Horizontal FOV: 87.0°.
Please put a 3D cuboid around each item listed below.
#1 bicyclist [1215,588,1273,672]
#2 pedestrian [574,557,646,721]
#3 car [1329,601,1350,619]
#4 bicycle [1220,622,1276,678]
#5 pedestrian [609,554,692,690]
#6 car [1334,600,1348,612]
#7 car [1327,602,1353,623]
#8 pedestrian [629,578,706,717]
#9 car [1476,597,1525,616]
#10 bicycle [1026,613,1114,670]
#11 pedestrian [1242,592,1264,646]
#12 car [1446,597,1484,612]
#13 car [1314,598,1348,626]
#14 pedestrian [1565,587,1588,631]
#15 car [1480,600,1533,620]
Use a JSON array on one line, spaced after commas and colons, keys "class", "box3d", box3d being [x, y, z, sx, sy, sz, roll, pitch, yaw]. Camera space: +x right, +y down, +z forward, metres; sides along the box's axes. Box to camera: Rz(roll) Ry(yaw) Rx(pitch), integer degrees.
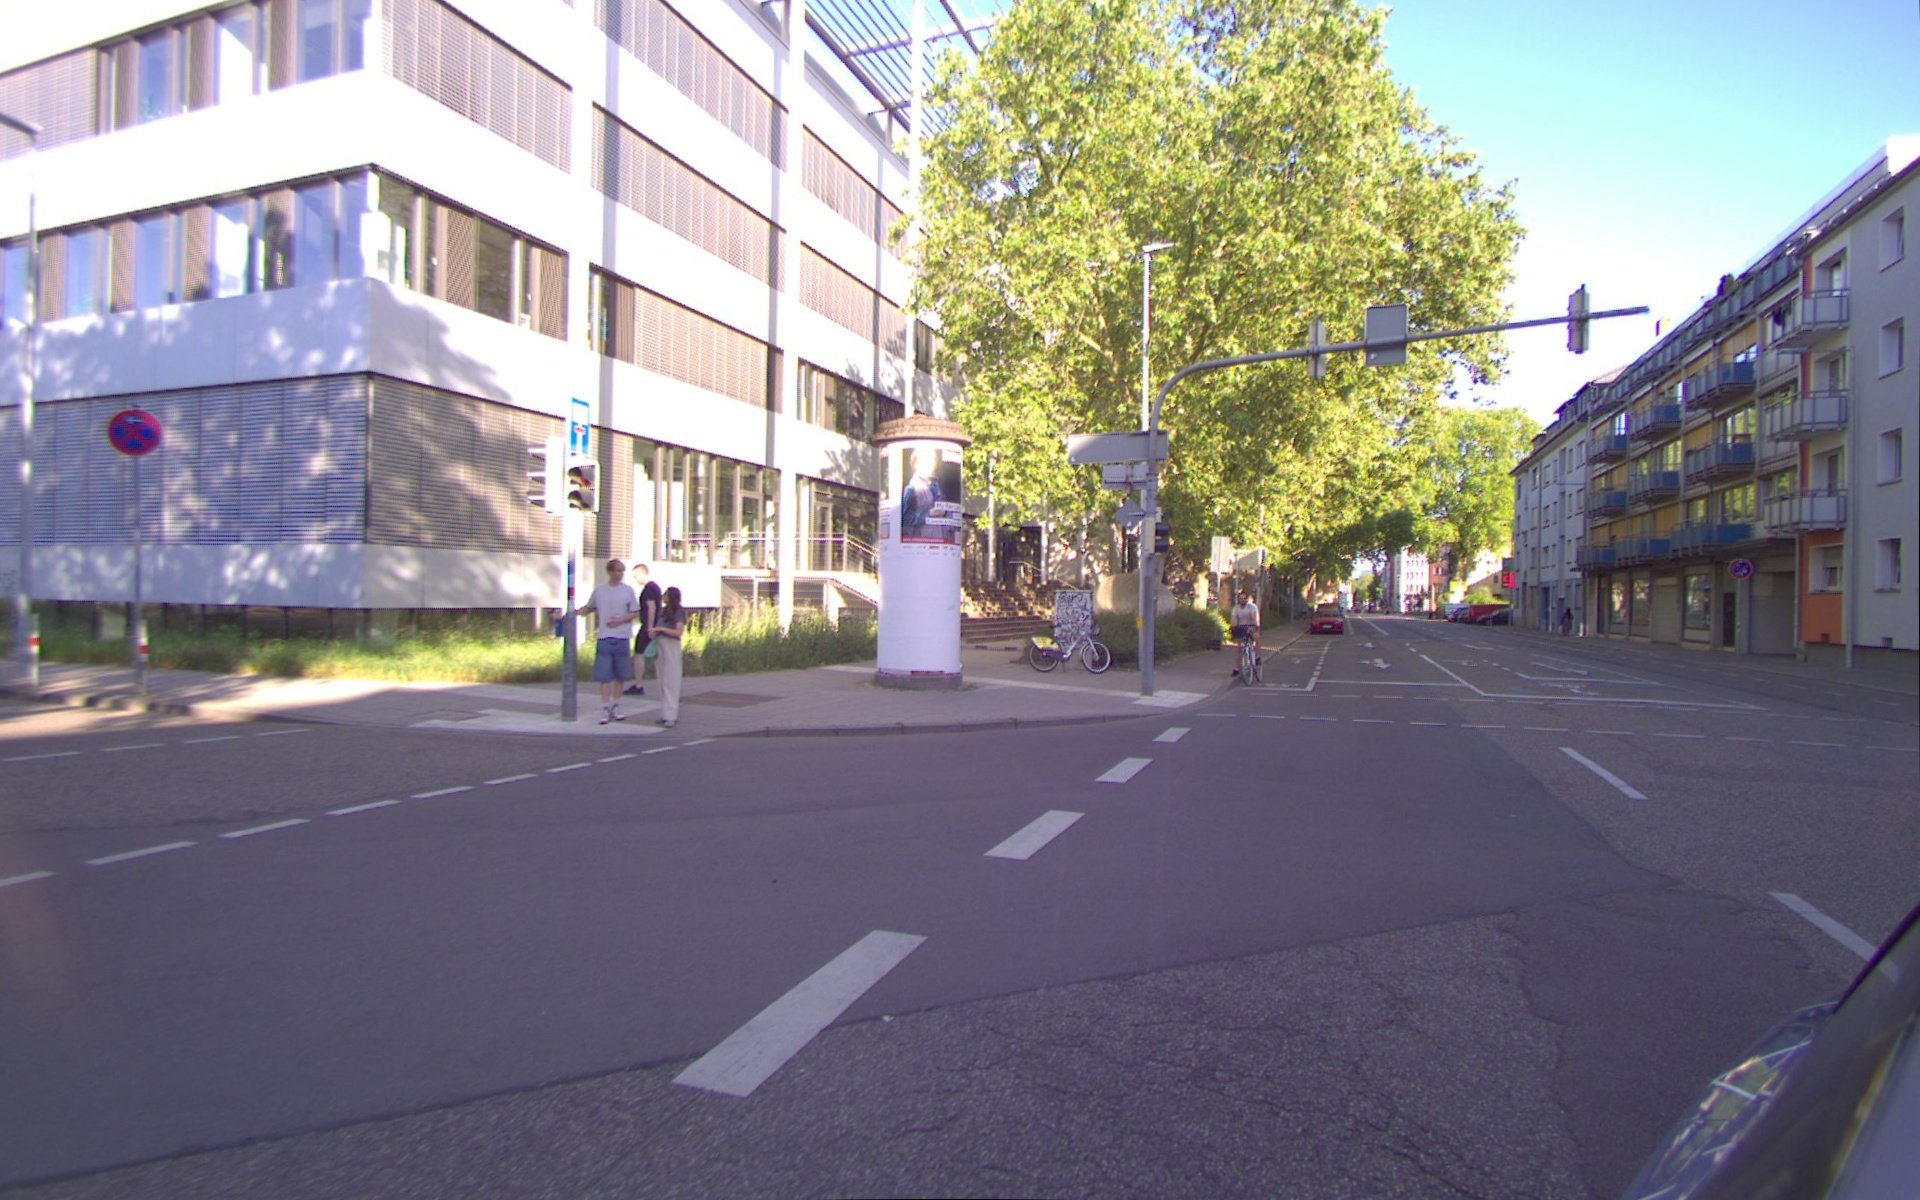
[{"class": "bicyclist", "box3d": [5.798, 0.583, 20.616, 0.942, 1.661, 0.997, 0, 0, 29]}, {"class": "pedestrian", "box3d": [-4.063, 0.438, 11.772, 0.593, 1.862, 0.569, 1, 0, 6]}, {"class": "car", "box3d": [34.843, 0.899, 92.967, 1.766, 1.548, 4.624, 1, 0, 21]}, {"class": "bicycle", "box3d": [5.917, 1.001, 20.738, 0.698, 1.080, 1.908, 1, -1, 28]}, {"class": "pedestrian", "box3d": [-4.189, 0.297, 13.742, 0.975, 1.794, 0.607, 1, 0, -10]}, {"class": "car", "box3d": [52.816, 0.821, 140.212, 1.766, 1.548, 4.624, 1, 0, 21]}, {"class": "car", "box3d": [29.020, 0.922, 77.277, 1.766, 1.548, 4.624, 1, 0, 21]}, {"class": "pedestrian", "box3d": [-3.346, 0.527, 11.614, 0.662, 1.543, 0.559, 1, 0, 10]}, {"class": "car", "box3d": [51.516, 0.591, 96.536, 3.955, 1.720, 1.819, 1, 0, 23]}, {"class": "bicycle", "box3d": [2.174, 0.809, 20.107, 1.603, 1.011, 0.623, 3, 2, -4]}, {"class": "pedestrian", "box3d": [10.003, 0.633, 34.581, 0.661, 1.819, 0.663, -2, 0, 15]}, {"class": "car", "box3d": [59.940, 0.522, 120.218, 3.955, 1.720, 1.819, 1, 0, 23]}, {"class": "car", "box3d": [21.476, 0.657, 58.706, 1.765, 1.548, 4.627, 1, 0, 19]}, {"class": "pedestrian", "box3d": [35.065, 0.496, 57.573, 0.903, 2.426, 1.080, 1, 0, 21]}, {"class": "car", "box3d": [49.438, 0.910, 91.623, 3.955, 1.720, 1.819, 1, 0, 23]}]
